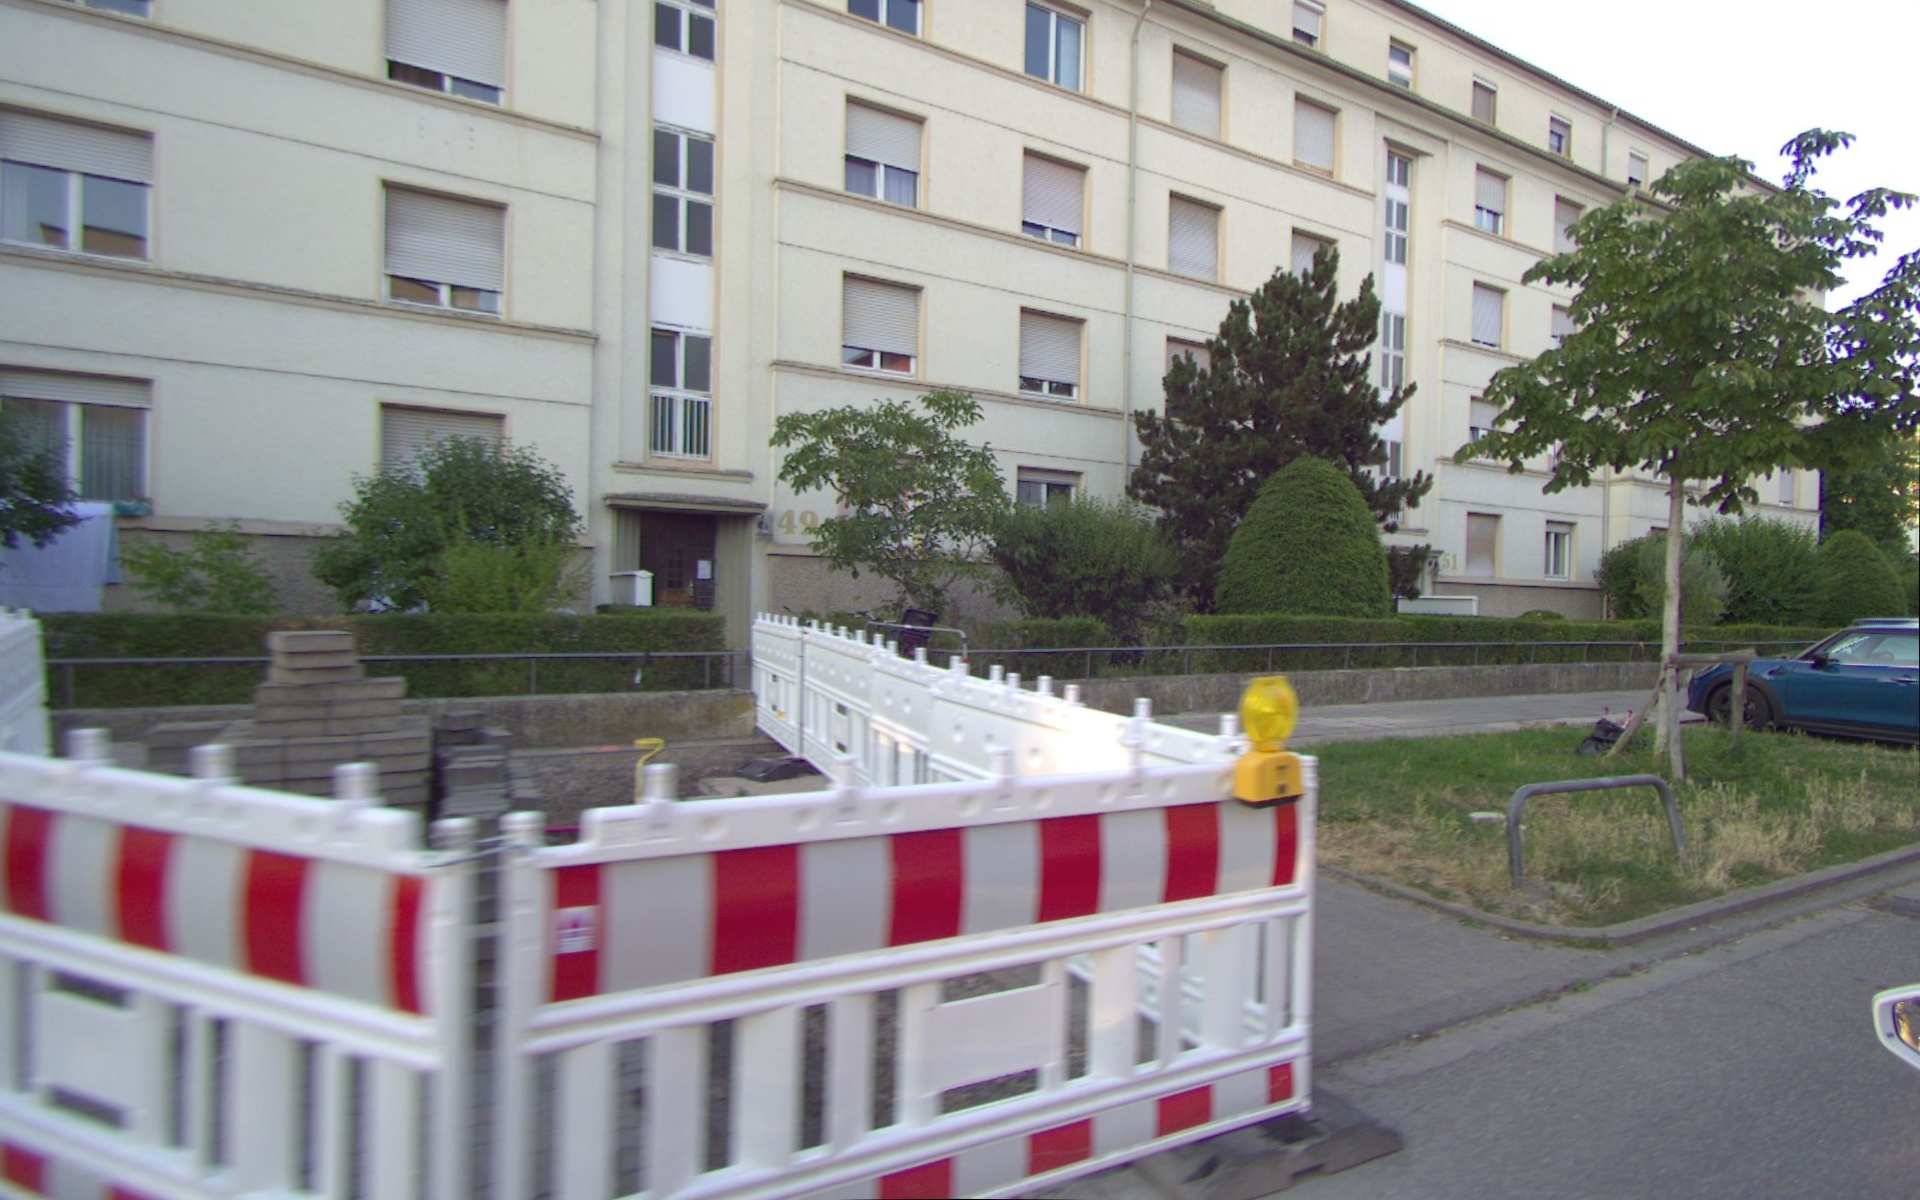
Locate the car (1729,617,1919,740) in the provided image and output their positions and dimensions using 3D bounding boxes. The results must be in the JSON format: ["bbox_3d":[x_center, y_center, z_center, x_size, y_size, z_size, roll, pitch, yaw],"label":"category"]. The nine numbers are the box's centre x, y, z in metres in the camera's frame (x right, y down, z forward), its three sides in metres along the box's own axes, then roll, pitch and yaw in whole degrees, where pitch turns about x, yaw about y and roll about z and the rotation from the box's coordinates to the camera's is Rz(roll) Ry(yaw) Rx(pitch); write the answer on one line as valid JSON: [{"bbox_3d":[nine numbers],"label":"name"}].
[{"bbox_3d":[13.089,1.091,13.744,1.706,1.504,3.662,2,1,-27],"label":"car"}]

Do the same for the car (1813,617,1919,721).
[{"bbox_3d":[15.527,1.128,14.920,1.706,1.509,3.962,2,1,-27],"label":"car"}]

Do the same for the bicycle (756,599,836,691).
[{"bbox_3d":[-2.428,0.615,14.697,0.484,1.202,2.020,1,1,-28],"label":"bicycle"}]

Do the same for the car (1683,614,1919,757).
[{"bbox_3d":[11.048,1.004,11.866,1.706,1.464,3.662,2,1,-27],"label":"car"}]

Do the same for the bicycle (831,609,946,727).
[{"bbox_3d":[-0.888,0.746,11.853,0.534,1.202,2.020,1,1,-28],"label":"bicycle"}]
